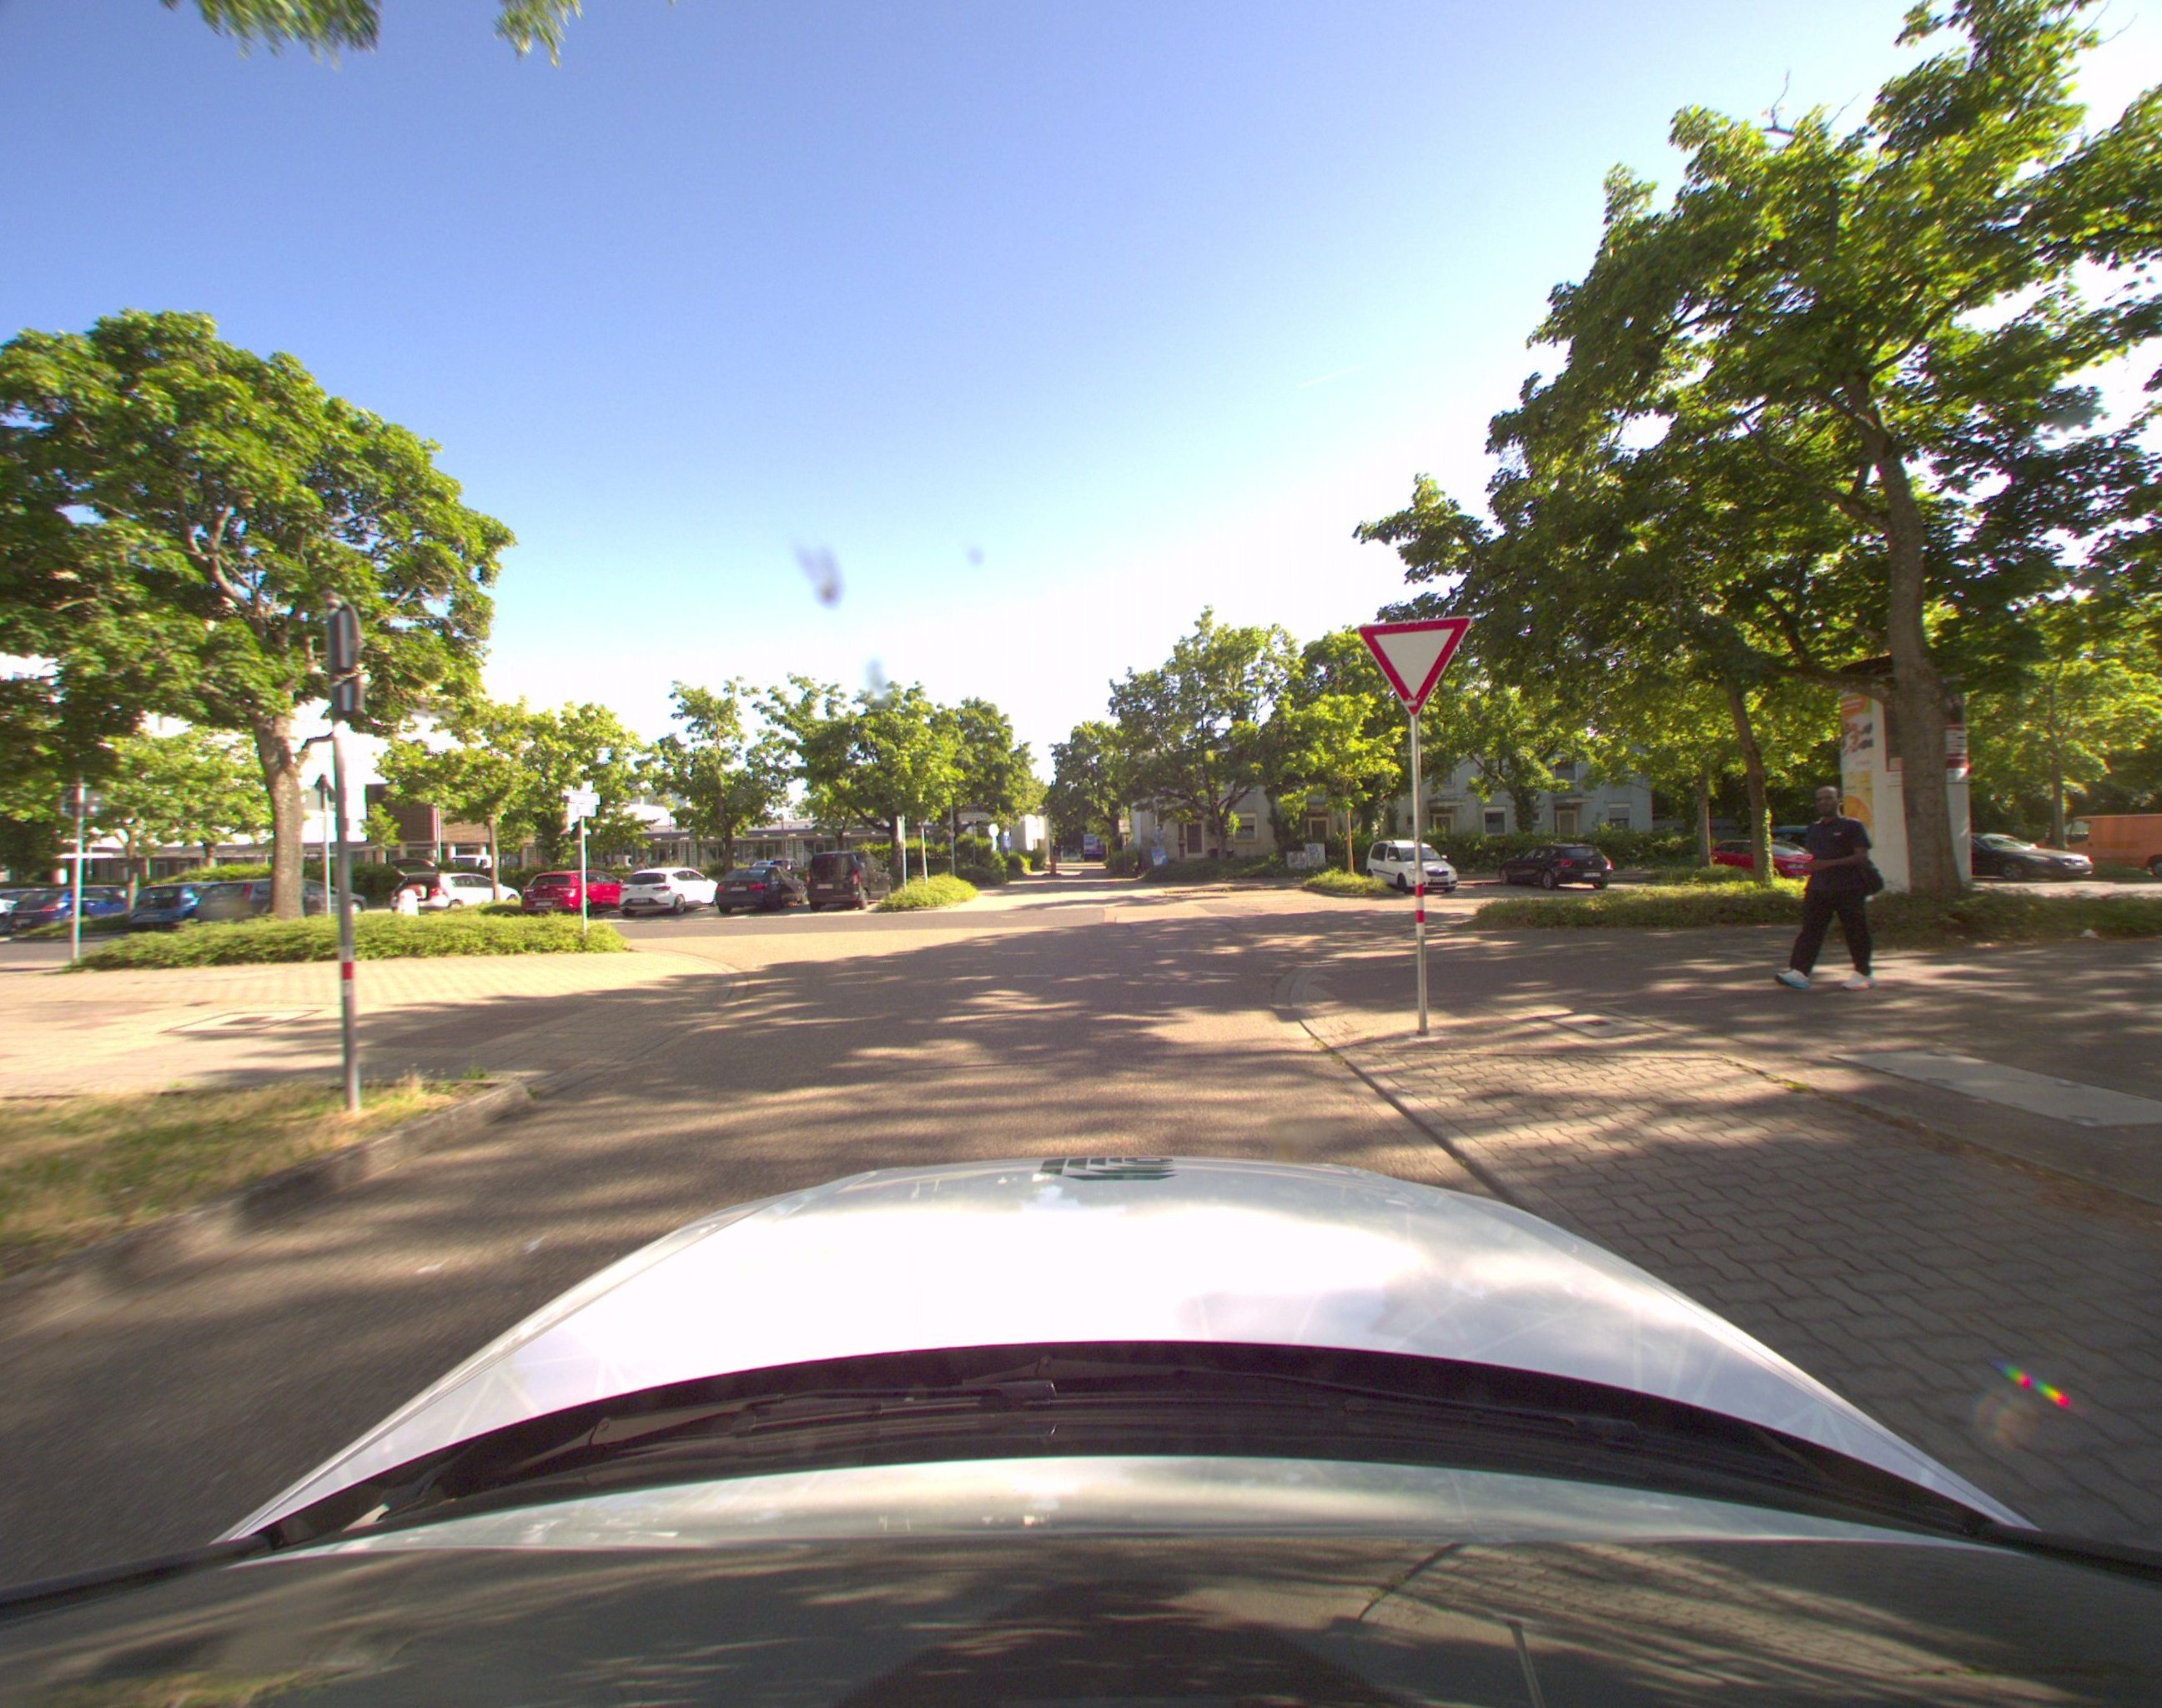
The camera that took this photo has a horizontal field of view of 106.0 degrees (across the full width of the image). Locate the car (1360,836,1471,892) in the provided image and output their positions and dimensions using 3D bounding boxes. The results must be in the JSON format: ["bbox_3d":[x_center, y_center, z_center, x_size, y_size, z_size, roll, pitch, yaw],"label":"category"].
[{"bbox_3d":[10.670,0.263,26.299,1.818,1.597,4.167,-2,1,-1],"label":"car"}]

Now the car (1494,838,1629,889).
[{"bbox_3d":[15.227,0.242,26.075,1.818,1.406,4.167,-2,1,-1],"label":"car"}]

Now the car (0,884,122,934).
[{"bbox_3d":[-34.909,1.832,26.929,1.829,1.416,3.747,-2,1,2],"label":"car"}]

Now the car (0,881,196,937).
[{"bbox_3d":[-32.399,1.749,26.946,1.829,1.497,3.910,-2,1,2],"label":"car"}]

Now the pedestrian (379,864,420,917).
[{"bbox_3d":[-20.774,1.093,24.829,0.665,1.579,0.771,-1,0,29],"label":"pedestrian"}]

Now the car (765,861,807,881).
[{"bbox_3d":[-23.865,1.350,66.020,1.828,1.497,3.911,-2,1,3],"label":"car"}]

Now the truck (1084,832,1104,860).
[{"bbox_3d":[2.000,-1.171,121.064,2.750,3.869,9.332,-1,0,1],"label":"truck"}]

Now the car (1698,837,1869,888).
[{"bbox_3d":[22.173,0.199,25.954,1.818,1.406,4.167,-2,1,-1],"label":"car"}]

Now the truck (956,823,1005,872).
[{"bbox_3d":[-8.241,-0.514,67.579,2.791,3.806,6.929,-1,0,3],"label":"truck"}]

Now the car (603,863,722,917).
[{"bbox_3d":[-13.364,1.105,26.304,1.797,1.436,3.911,-1,2,-1],"label":"car"}]

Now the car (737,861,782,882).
[{"bbox_3d":[-25.980,1.374,65.926,1.828,1.497,3.911,-2,1,3],"label":"car"}]

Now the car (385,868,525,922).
[{"bbox_3d":[-20.735,1.298,27.202,1.669,1.578,3.910,-1,0,-1],"label":"car"}]

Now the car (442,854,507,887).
[{"bbox_3d":[-48.528,1.268,65.246,2.216,2.490,3.649,-2,1,3],"label":"car"}]

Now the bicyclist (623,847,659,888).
[{"bbox_3d":[-16.606,0.507,30.717,1.008,1.523,0.596,-1,0,0],"label":"bicyclist"}]

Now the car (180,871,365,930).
[{"bbox_3d":[-25.776,1.426,26.199,1.726,1.519,4.198,-2,1,-1],"label":"car"}]

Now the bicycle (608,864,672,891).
[{"bbox_3d":[-16.612,0.887,30.717,2.074,0.995,0.596,-1,0,1],"label":"bicycle"}]

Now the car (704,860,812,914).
[{"bbox_3d":[-10.323,0.995,26.378,1.818,1.406,4.167,-2,1,-1],"label":"car"}]

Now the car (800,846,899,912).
[{"bbox_3d":[-7.400,0.738,26.457,1.867,1.846,4.169,-2,1,1],"label":"car"}]

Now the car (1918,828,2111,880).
[{"bbox_3d":[29.326,-0.051,25.780,1.758,1.473,3.786,-2,1,-1],"label":"car"}]

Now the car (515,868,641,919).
[{"bbox_3d":[-16.183,1.208,26.434,1.662,1.426,3.910,-1,0,-1],"label":"car"}]

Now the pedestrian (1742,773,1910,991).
[{"bbox_3d":[6.261,0.203,6.863,0.810,1.684,0.830,-2,1,-30],"label":"pedestrian"}]

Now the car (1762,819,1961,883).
[{"bbox_3d":[24.545,-0.147,25.908,1.818,1.772,4.663,-2,1,-1],"label":"car"}]

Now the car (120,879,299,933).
[{"bbox_3d":[-28.073,1.631,26.430,1.611,1.468,3.910,-1,0,-1],"label":"car"}]

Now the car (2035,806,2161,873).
[{"bbox_3d":[33.851,-0.503,25.933,1.962,2.032,4.259,-2,1,-1],"label":"car"}]
